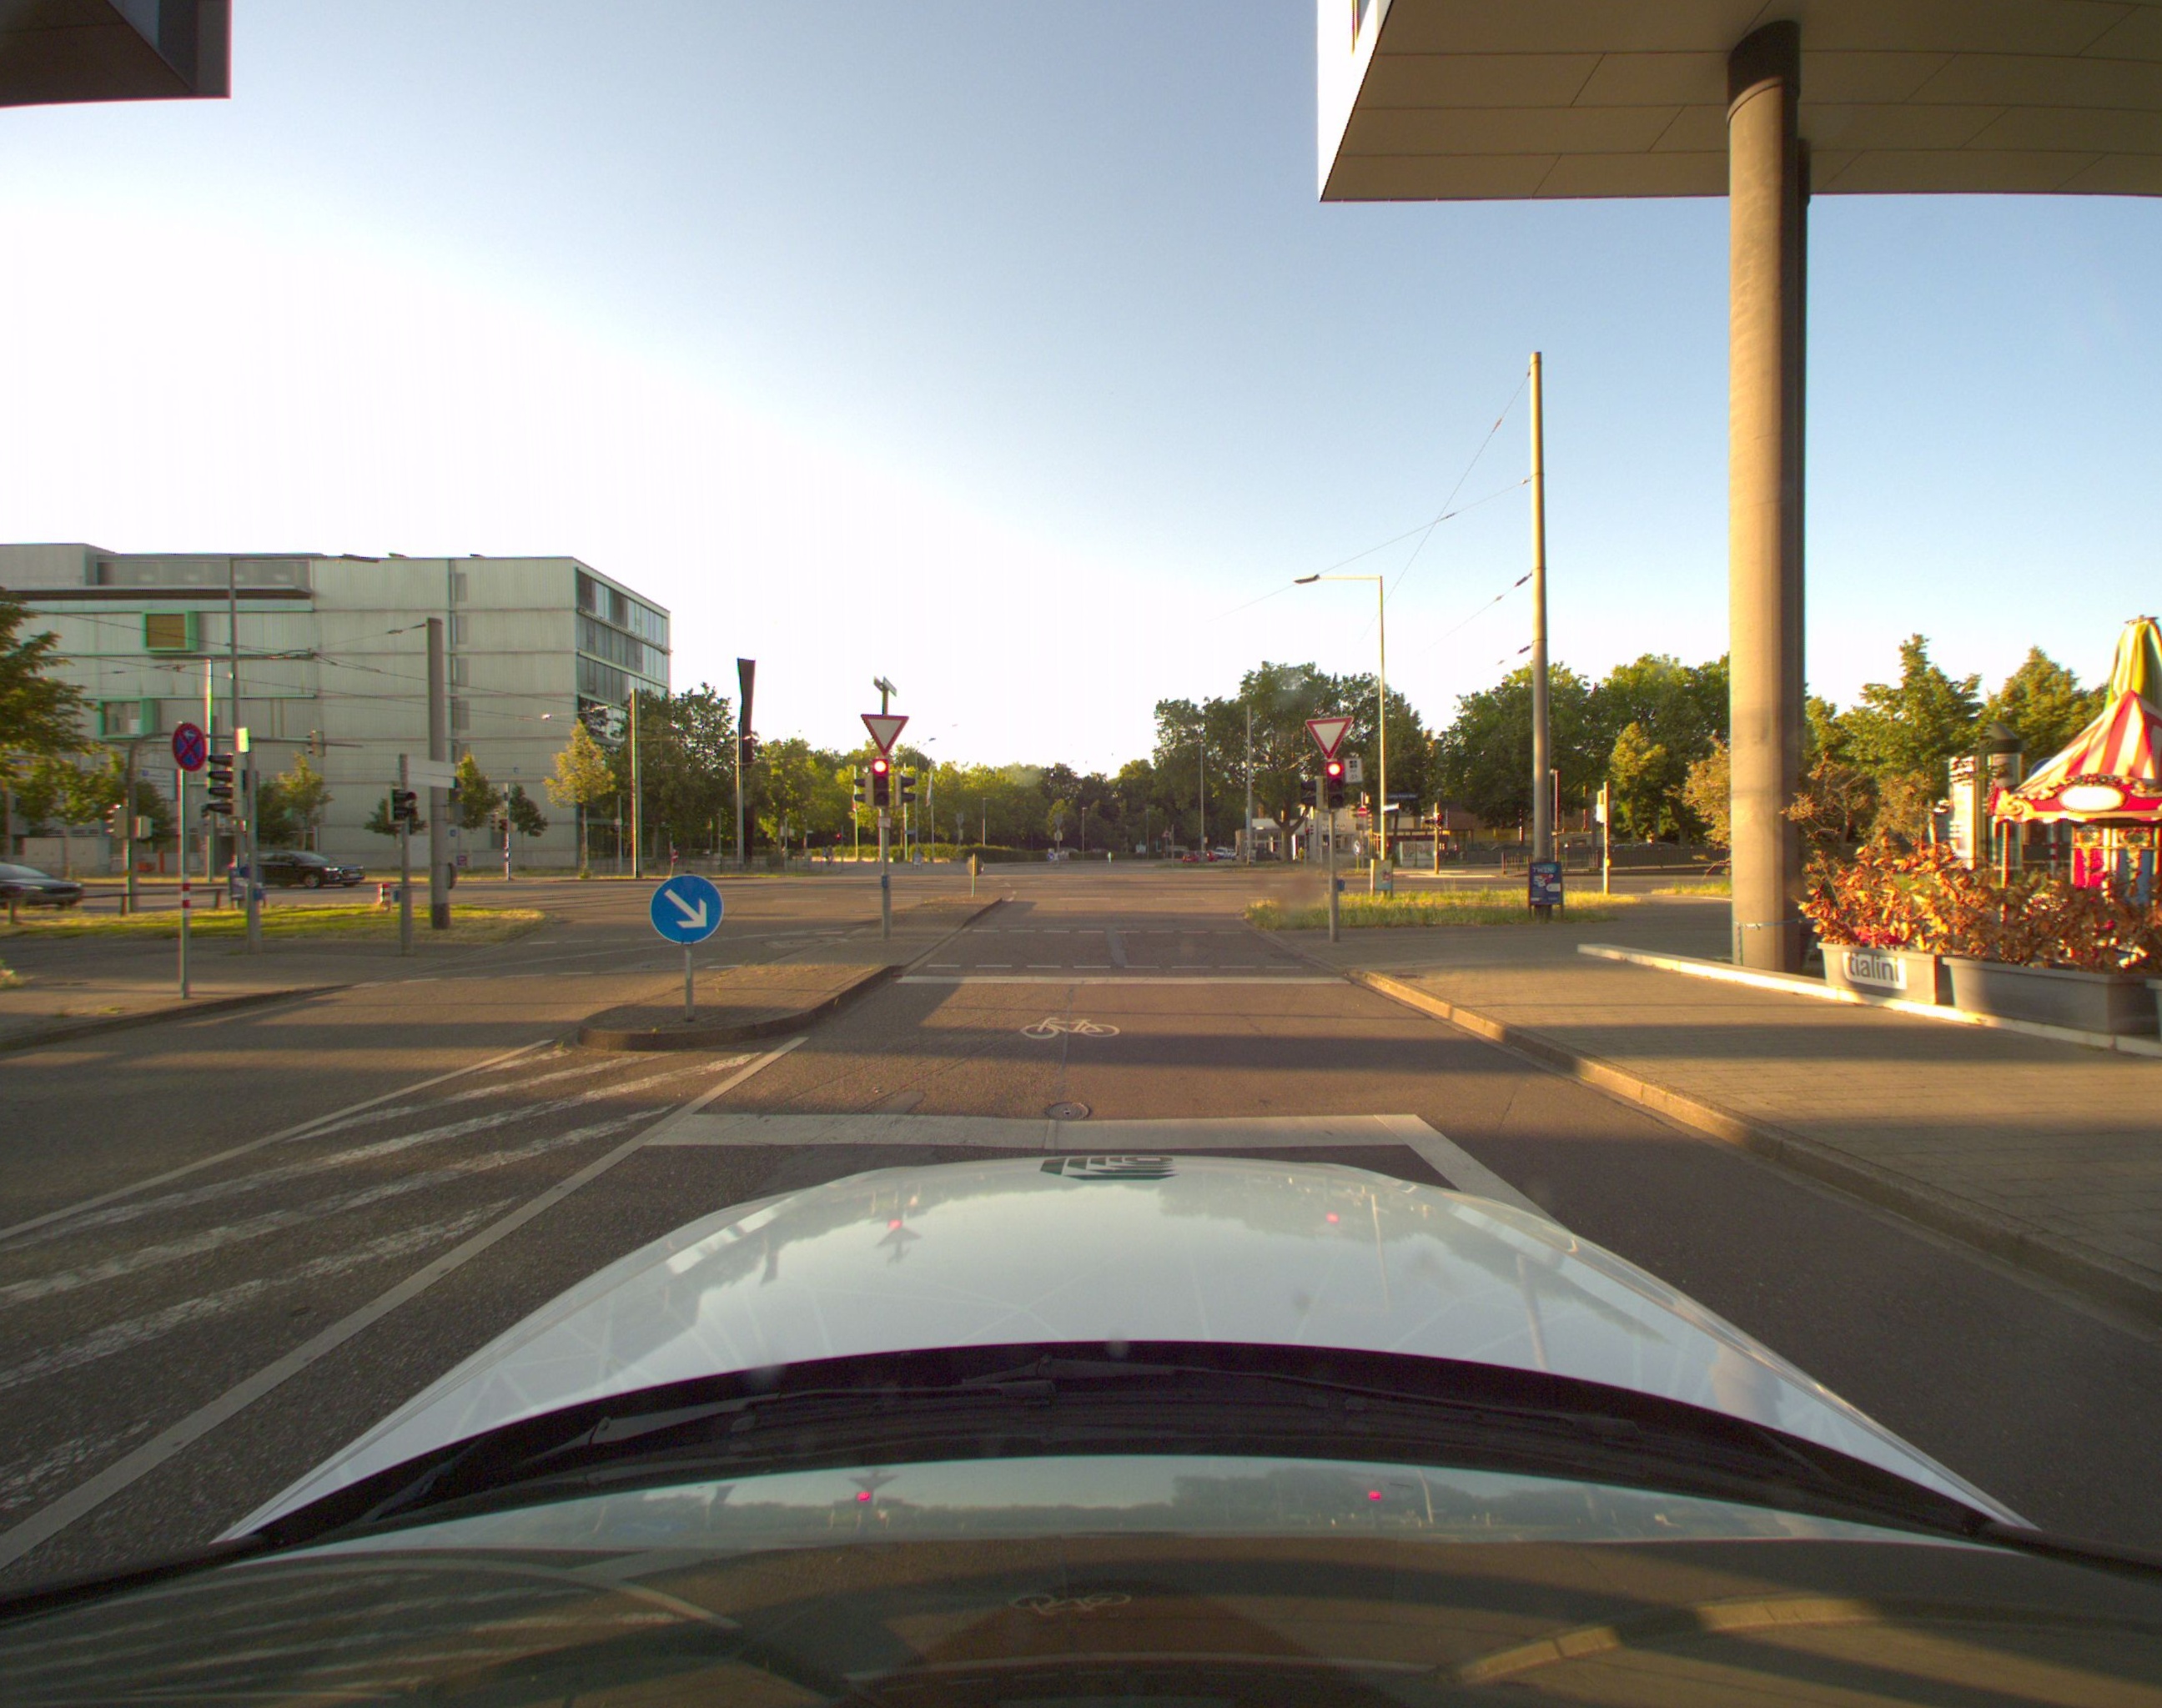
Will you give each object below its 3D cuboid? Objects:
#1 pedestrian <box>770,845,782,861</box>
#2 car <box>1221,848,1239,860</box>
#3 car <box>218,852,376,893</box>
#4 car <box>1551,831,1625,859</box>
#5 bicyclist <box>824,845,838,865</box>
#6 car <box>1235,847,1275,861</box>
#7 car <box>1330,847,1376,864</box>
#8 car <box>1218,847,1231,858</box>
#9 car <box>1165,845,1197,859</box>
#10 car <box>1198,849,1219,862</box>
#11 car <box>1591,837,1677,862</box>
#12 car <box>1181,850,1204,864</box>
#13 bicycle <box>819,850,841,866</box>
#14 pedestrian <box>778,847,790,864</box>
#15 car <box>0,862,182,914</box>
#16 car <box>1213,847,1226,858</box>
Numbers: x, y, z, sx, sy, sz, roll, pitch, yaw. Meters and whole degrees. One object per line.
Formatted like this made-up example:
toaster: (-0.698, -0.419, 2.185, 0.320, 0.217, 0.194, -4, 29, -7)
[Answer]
pedestrian: (-32.566, -0.095, 86.929, 0.852, 1.744, 0.835, -1, 0, 34)
car: (21.087, -0.002, 115.299, 1.978, 1.662, 4.018, -1, -1, 17)
car: (-32.510, 0.741, 33.896, 4.467, 1.557, 1.986, -1, 0, -4)
car: (47.899, -0.851, 77.041, 5.561, 2.551, 2.235, -1, 0, 9)
bicyclist: (-21.736, 0.095, 70.751, 0.908, 1.709, 0.757, -1, 0, 44)
car: (18.922, 0.012, 88.900, 4.194, 1.552, 2.005, -1, -1, 9)
car: (23.966, 0.164, 71.827, 3.715, 1.440, 1.669, -1, -1, 11)
car: (23.933, -0.258, 135.737, 1.849, 1.794, 4.015, -1, -1, 14)
car: (15.415, -0.332, 125.729, 4.753, 2.006, 2.002, -1, -1, 3)
car: (16.207, 0.214, 103.179, 1.978, 1.662, 4.018, -1, -1, 17)
car: (36.375, -0.279, 53.646, 4.311, 1.496, 1.806, -1, -1, 4)
car: (13.104, 0.377, 95.558, 1.978, 1.662, 4.018, -1, -1, 17)
bicycle: (-21.884, 0.373, 70.860, 0.736, 1.341, 2.658, -1, 0, -43)
pedestrian: (-31.964, 0.173, 87.731, 0.852, 1.744, 0.835, -1, 0, 33)
car: (-32.276, 1.041, 25.695, 5.009, 1.511, 1.981, -1, 0, -11)
car: (22.269, -0.251, 130.879, 1.850, 1.794, 4.013, -1, -1, 12)
